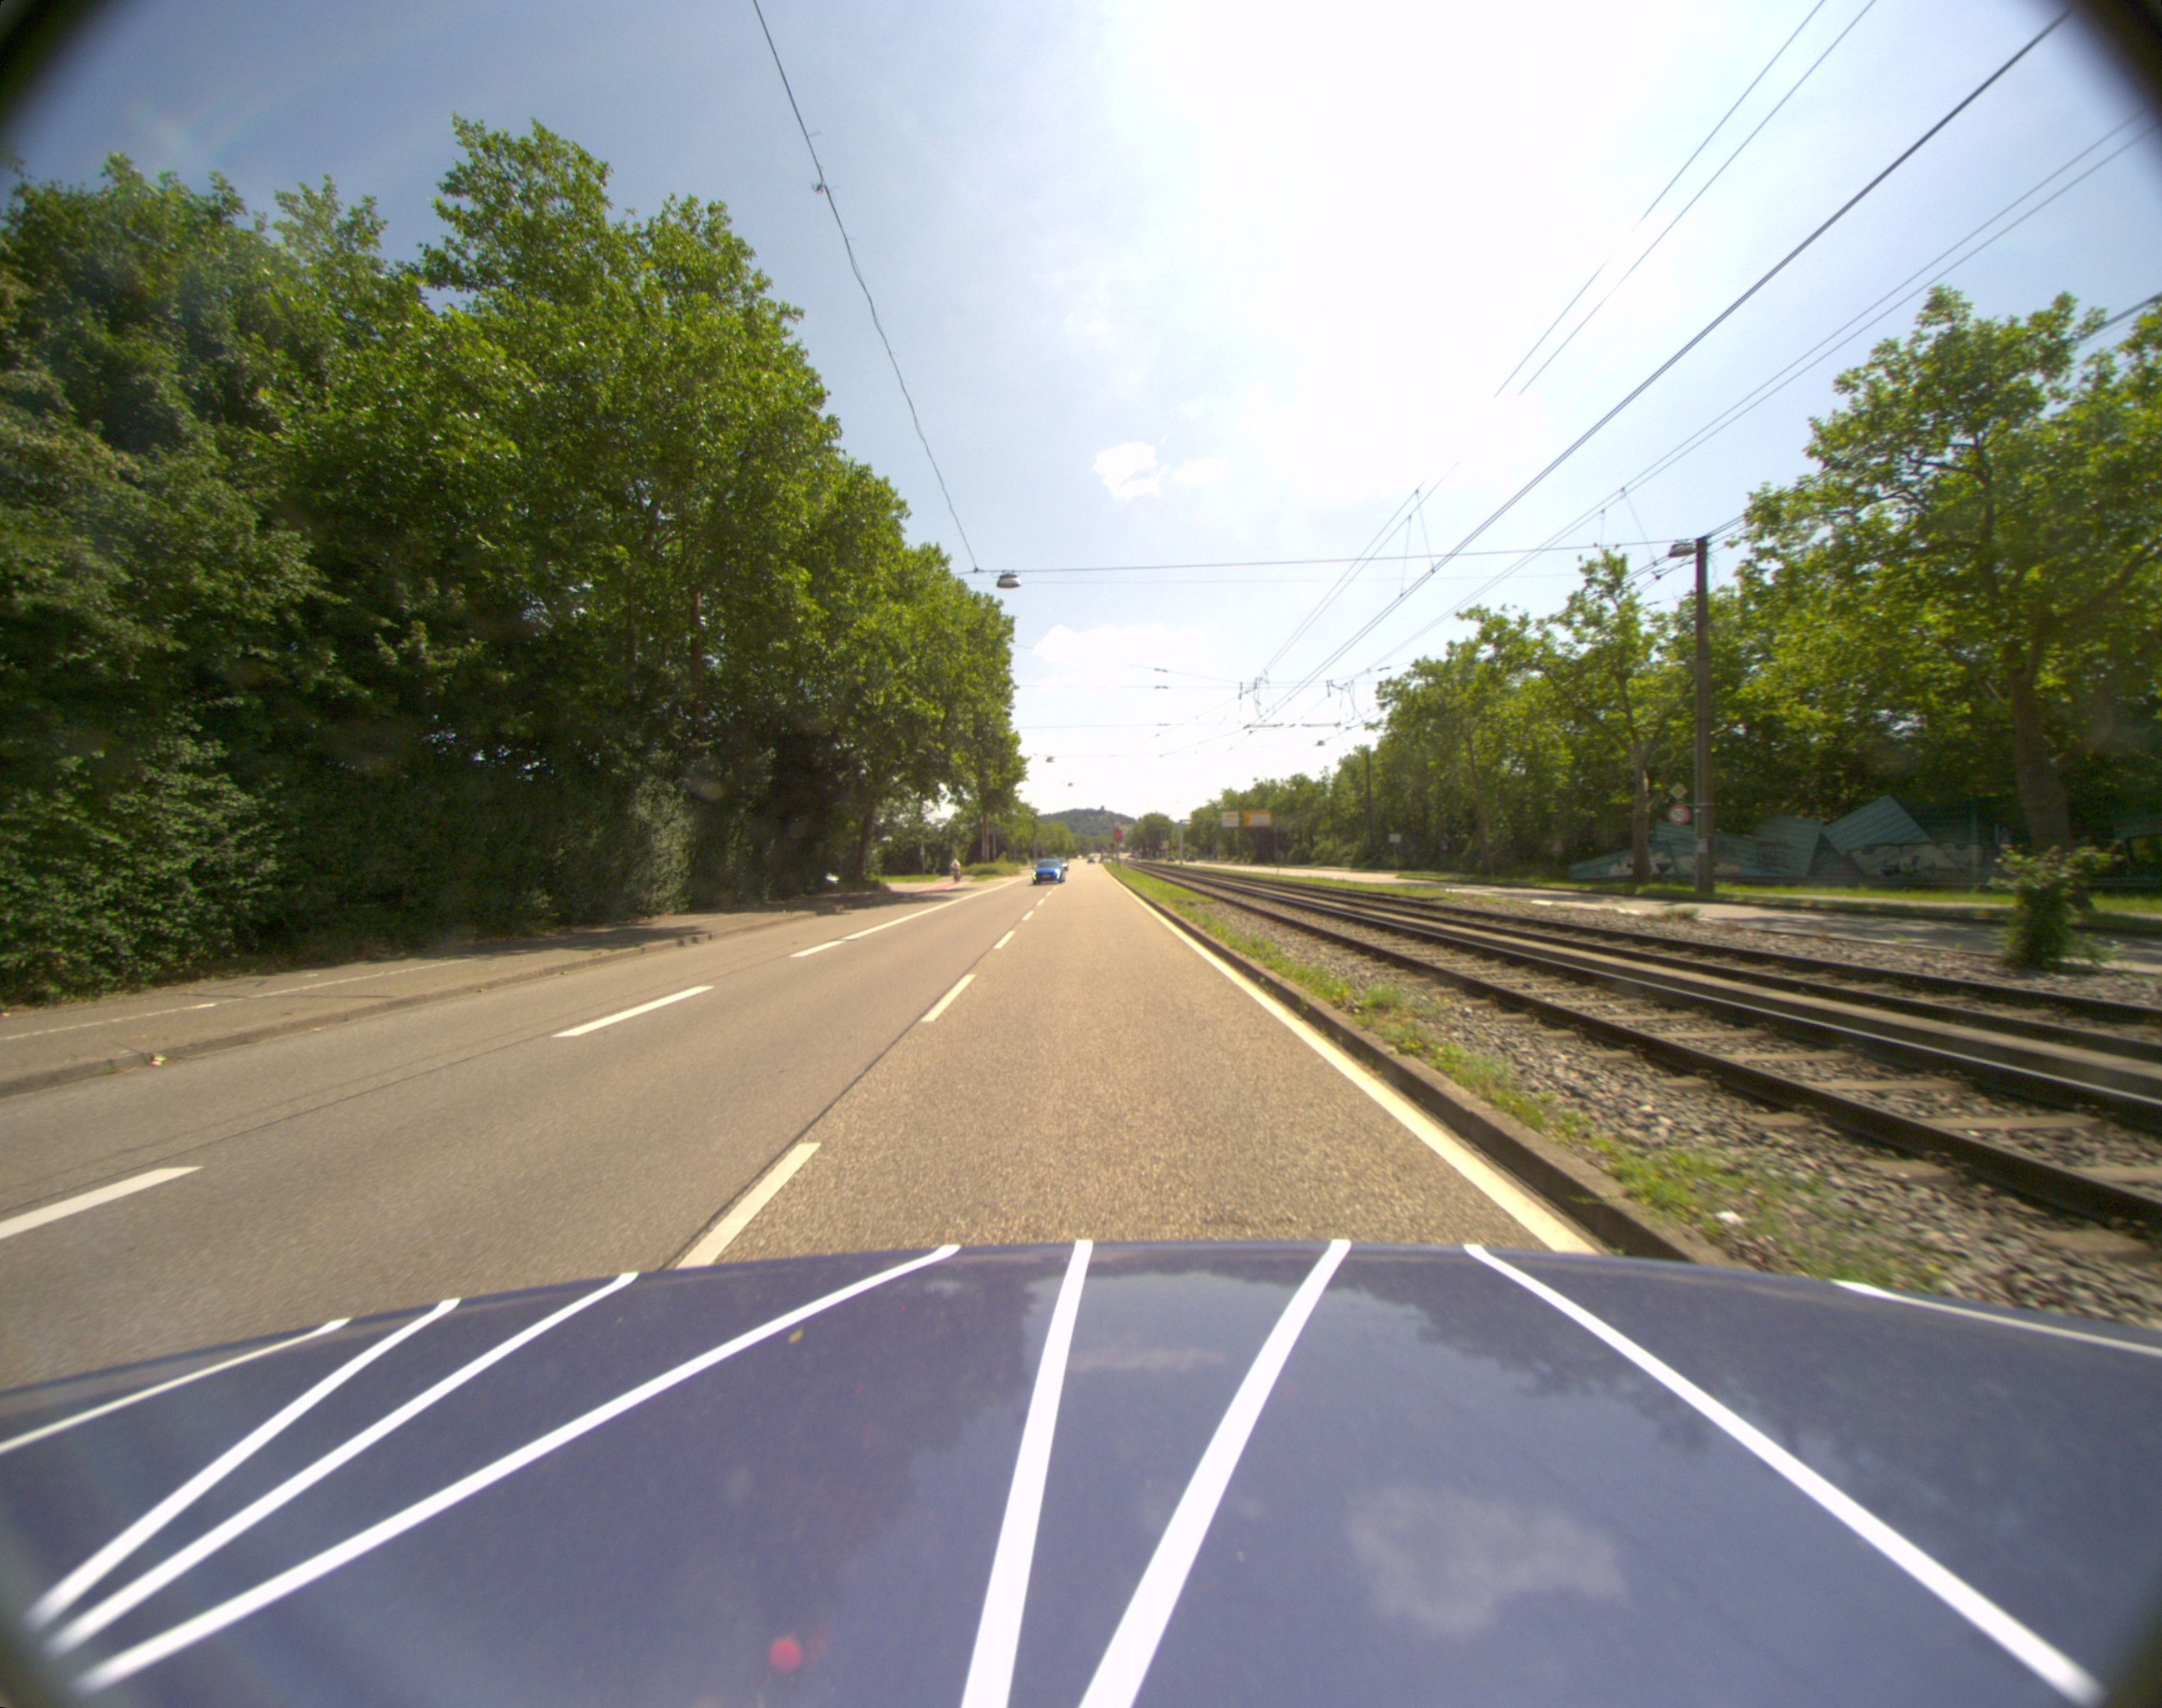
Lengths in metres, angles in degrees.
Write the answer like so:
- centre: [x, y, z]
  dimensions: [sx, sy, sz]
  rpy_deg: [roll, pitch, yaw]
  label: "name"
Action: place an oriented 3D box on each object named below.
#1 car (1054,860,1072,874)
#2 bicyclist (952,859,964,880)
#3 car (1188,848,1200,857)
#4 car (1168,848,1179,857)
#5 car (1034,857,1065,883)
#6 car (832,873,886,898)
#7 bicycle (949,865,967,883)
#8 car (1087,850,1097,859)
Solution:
- centre: [-1.995, 1.469, 85.272]
  dimensions: [1.769, 1.359, 3.743]
  rpy_deg: [-2, 1, 1]
  label: "car"
- centre: [-8.677, 1.101, 53.617]
  dimensions: [0.704, 1.431, 0.641]
  rpy_deg: [-1, 1, 2]
  label: "bicyclist"
- centre: [24.680, -0.291, 165.480]
  dimensions: [1.998, 1.783, 3.999]
  rpy_deg: [-2, 1, 1]
  label: "car"
- centre: [21.414, -0.337, 175.859]
  dimensions: [1.998, 1.783, 3.999]
  rpy_deg: [-2, 1, 1]
  label: "car"
- centre: [-1.853, 0.927, 45.643]
  dimensions: [1.660, 1.397, 3.743]
  rpy_deg: [-2, 1, 0]
  label: "car"
- centre: [-18.472, 2.597, 63.327]
  dimensions: [1.995, 1.849, 4.007]
  rpy_deg: [-1, 0, 29]
  label: "car"
- centre: [-8.666, 1.395, 53.654]
  dimensions: [0.710, 1.131, 2.538]
  rpy_deg: [-1, 0, 2]
  label: "bicycle"
- centre: [2.394, 0.075, 167.215]
  dimensions: [1.998, 2.002, 3.999]
  rpy_deg: [-2, 1, 1]
  label: "car"
